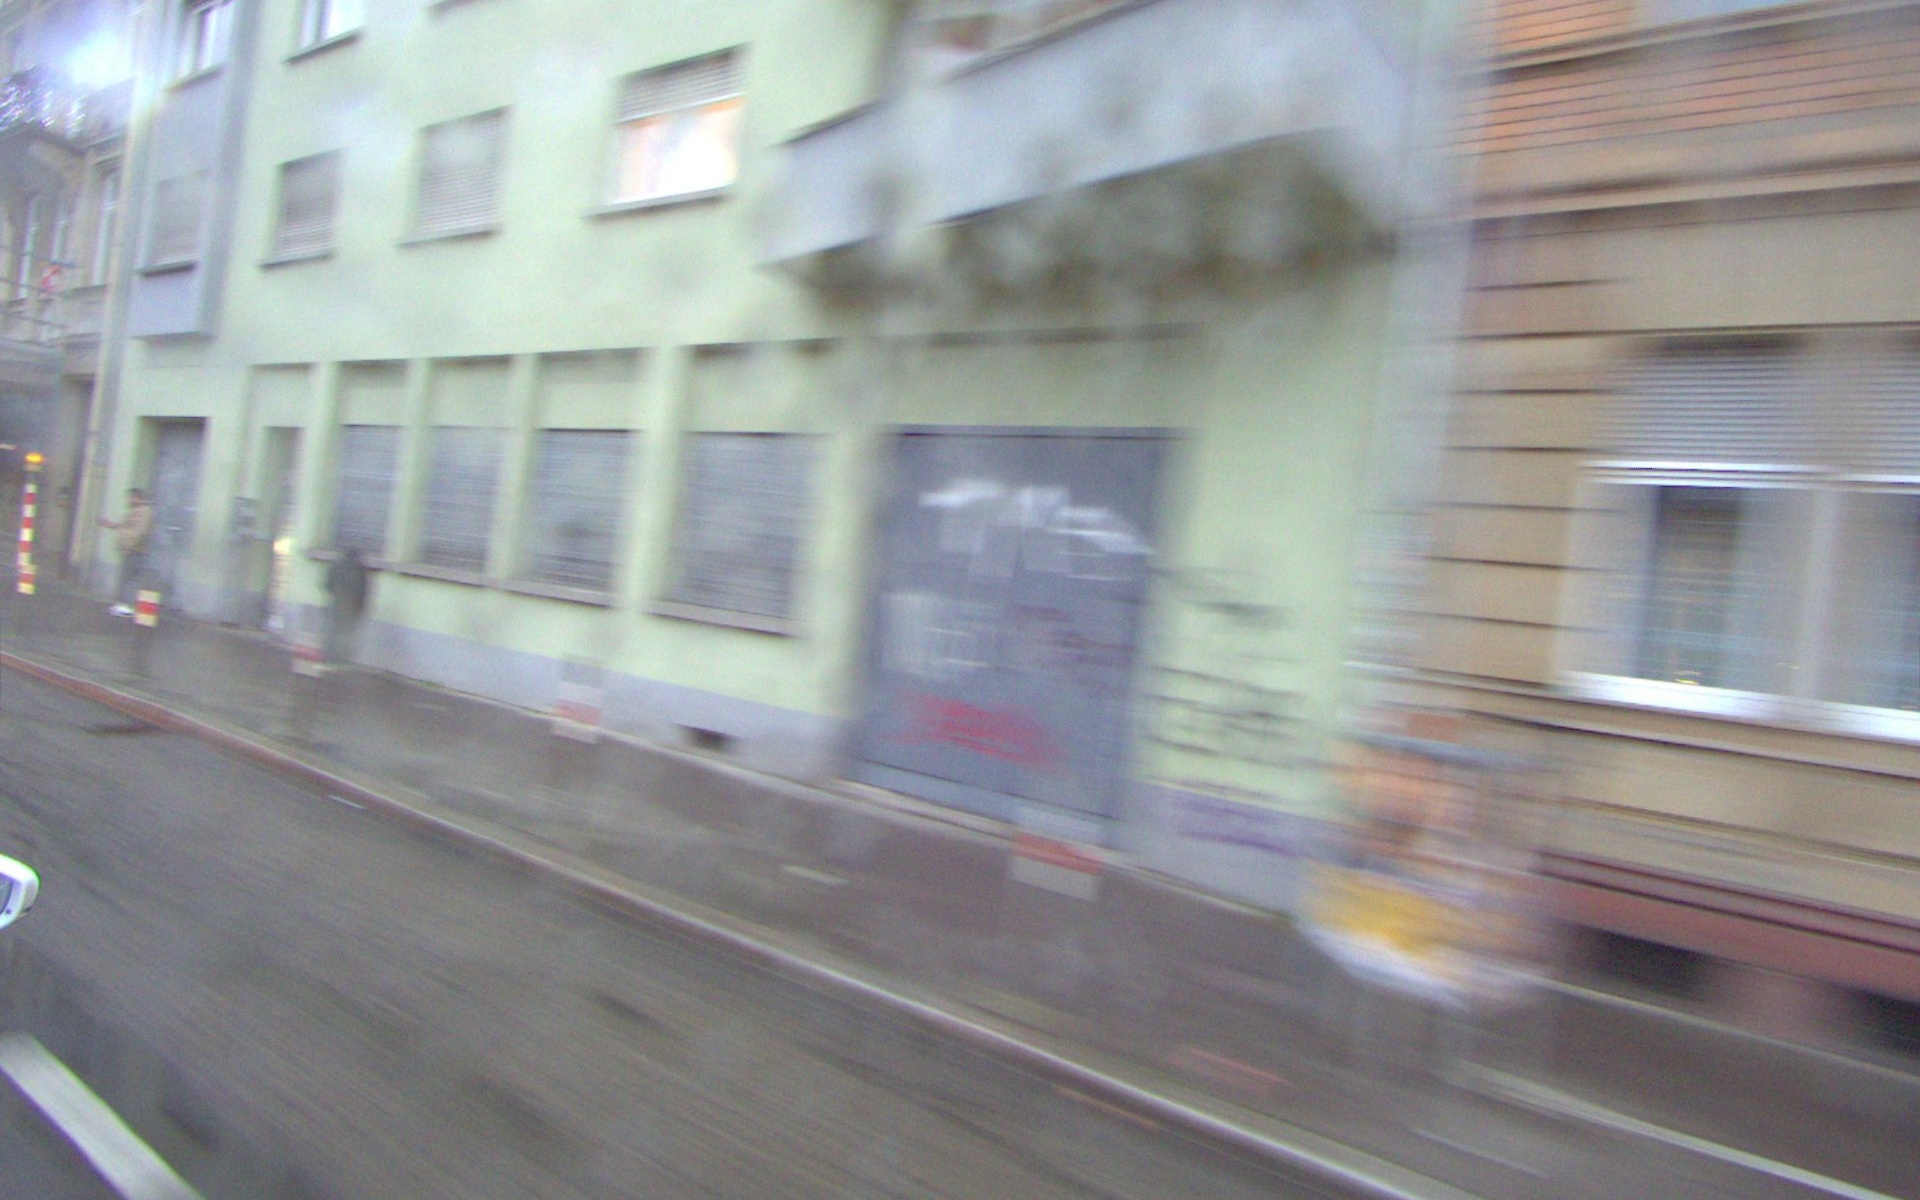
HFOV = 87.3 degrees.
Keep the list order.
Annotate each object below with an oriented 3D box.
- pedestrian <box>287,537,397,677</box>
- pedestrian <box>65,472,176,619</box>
[{"bbox_3d":[-6.661,0.082,10.851,0.716,1.392,0.601,7,-1,32],"label":"pedestrian"},{"bbox_3d":[-11.347,-0.721,13.615,0.761,1.839,0.601,7,-1,4],"label":"pedestrian"}]
